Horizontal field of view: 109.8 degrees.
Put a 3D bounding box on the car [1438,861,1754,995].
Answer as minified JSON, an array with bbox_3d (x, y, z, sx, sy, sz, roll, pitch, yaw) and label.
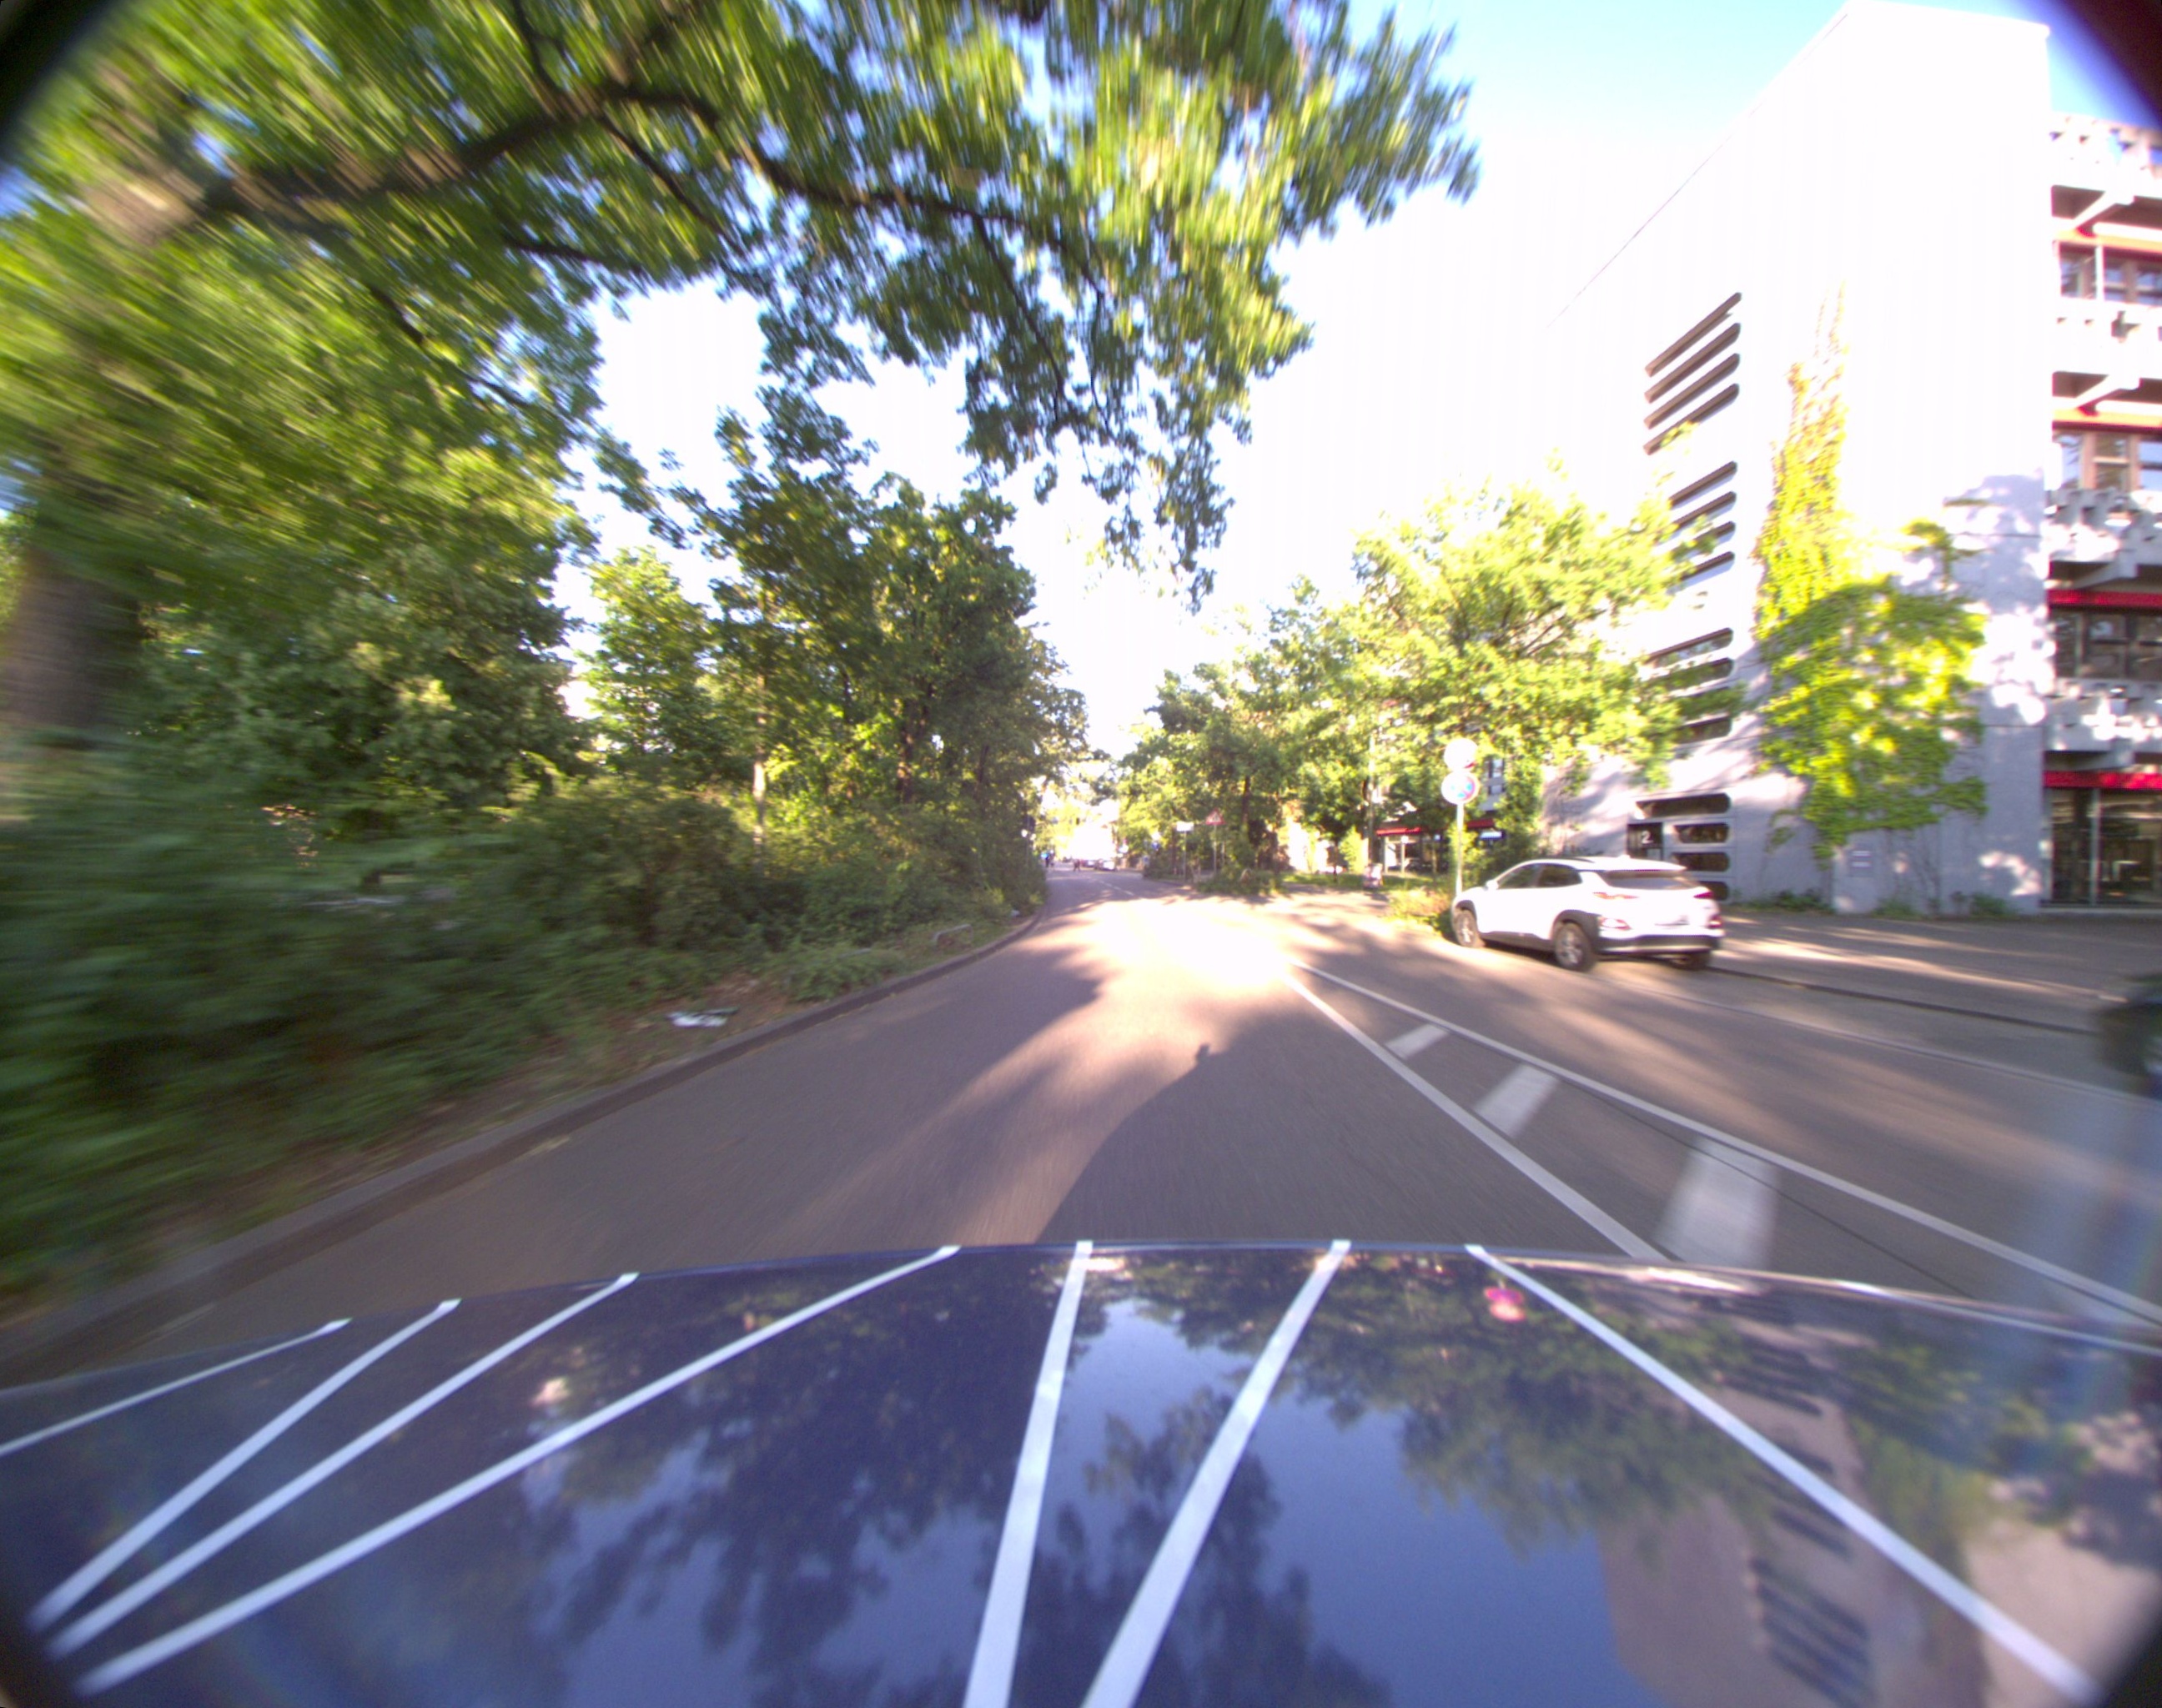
[{"bbox_3d":[7.406,0.943,11.553,1.808,1.607,4.145,1,0,-3],"label":"car"}]

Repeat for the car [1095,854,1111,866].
[{"bbox_3d":[2.901,0.731,100.285,1.776,1.559,4.107,-1,0,-3],"label":"car"}]

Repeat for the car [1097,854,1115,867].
[{"bbox_3d":[3.105,0.749,94.800,1.776,1.559,4.107,-1,0,-3],"label":"car"}]

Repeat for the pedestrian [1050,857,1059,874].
[{"bbox_3d":[-2.811,1.200,80.408,0.784,1.825,0.672,-2,0,0],"label":"pedestrian"}]

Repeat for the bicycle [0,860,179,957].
[{"bbox_3d":[-14.583,0.738,10.650,2.453,1.291,0.750,1,1,-20],"label":"bicycle"}]

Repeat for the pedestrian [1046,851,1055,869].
[{"bbox_3d":[-3.158,0.579,78.784,0.784,1.825,0.672,-2,0,0],"label":"pedestrian"}]

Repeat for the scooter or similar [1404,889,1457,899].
[{"bbox_3d":[12.277,1.400,26.741,1.166,0.274,1.248,-1,0,-19],"label":"scooter or similar"}]

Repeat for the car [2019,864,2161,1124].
[{"bbox_3d":[7.743,0.893,3.428,1.785,1.607,4.145,0,1,-3],"label":"car"}]

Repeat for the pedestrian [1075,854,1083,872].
[{"bbox_3d":[-0.214,0.973,78.601,0.784,1.825,0.672,-2,0,0],"label":"pedestrian"}]

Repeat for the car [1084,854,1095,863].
[{"bbox_3d":[1.485,0.839,133.555,1.776,1.559,4.107,-1,0,-3],"label":"car"}]

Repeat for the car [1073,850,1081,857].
[{"bbox_3d":[-1.003,-0.065,179.339,1.776,1.559,4.107,-1,0,-3],"label":"car"}]

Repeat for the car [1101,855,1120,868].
[{"bbox_3d":[3.405,0.840,88.678,1.776,1.474,4.107,-1,0,-3],"label":"car"}]

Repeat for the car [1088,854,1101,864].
[{"bbox_3d":[2.117,0.765,118.434,1.776,1.559,4.107,-1,0,-3],"label":"car"}]
